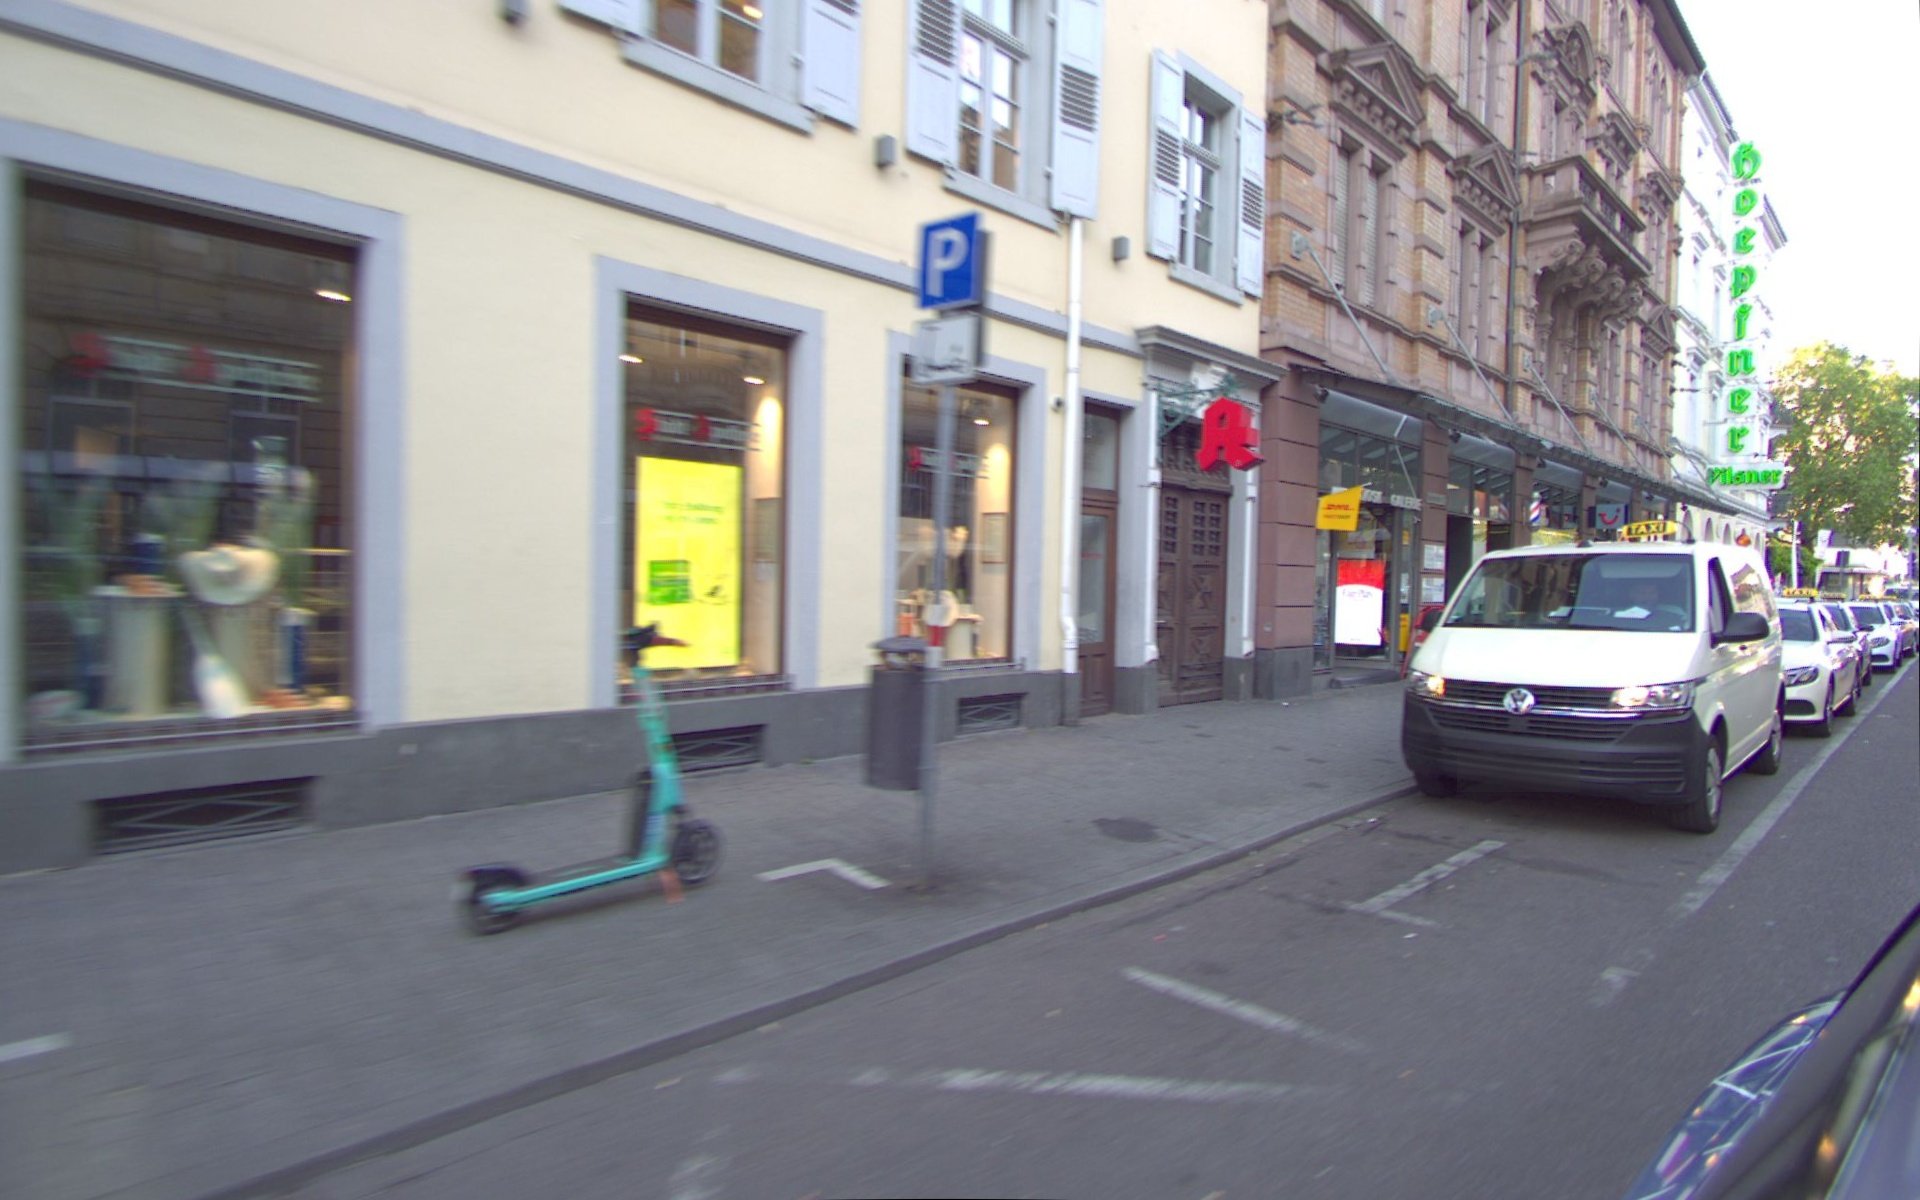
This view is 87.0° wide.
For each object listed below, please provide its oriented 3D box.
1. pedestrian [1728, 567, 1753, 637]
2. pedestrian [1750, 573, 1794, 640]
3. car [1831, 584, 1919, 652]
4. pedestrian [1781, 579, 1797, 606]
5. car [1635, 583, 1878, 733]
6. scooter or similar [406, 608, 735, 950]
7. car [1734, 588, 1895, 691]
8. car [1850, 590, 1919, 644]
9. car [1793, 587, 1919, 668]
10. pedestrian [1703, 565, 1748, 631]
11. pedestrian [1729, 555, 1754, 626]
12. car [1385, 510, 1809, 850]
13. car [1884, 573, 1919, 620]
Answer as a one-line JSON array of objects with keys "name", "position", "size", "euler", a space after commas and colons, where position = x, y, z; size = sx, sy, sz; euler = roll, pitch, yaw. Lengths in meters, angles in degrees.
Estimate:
[{"name": "pedestrian", "position": [20.475, 0.051, 26.545], "size": [0.372, 1.789, 0.653], "euler": [4, 3, 42]}, {"name": "pedestrian", "position": [21.606, 0.172, 26.934], "size": [0.476, 1.709, 0.622], "euler": [2, 4, -27]}, {"name": "car", "position": [24.156, 0.414, 26.307], "size": [4.365, 1.610, 1.735], "euler": [-1, 0, -42]}, {"name": "pedestrian", "position": [40.109, -0.366, 48.968], "size": [0.482, 1.312, 0.531], "euler": [0, 1, -44]}, {"name": "car", "position": [9.970, 0.590, 12.510], "size": [4.700, 1.502, 1.806], "euler": [0, -1, -45]}, {"name": "scooter or similar", "position": [-1.611, 0.677, 4.310], "size": [1.285, 1.249, 0.272], "euler": [-1, 3, -41]}, {"name": "car", "position": [14.759, 0.563, 17.378], "size": [4.742, 1.495, 1.727], "euler": [-1, 1, -45]}, {"name": "car", "position": [28.555, 0.454, 30.880], "size": [4.617, 1.494, 1.807], "euler": [-1, 1, -45]}, {"name": "car", "position": [19.453, 0.523, 21.895], "size": [4.786, 1.530, 1.733], "euler": [-1, 0, -45]}, {"name": "pedestrian", "position": [20.878, -0.062, 27.600], "size": [0.542, 1.709, 0.761], "euler": [0, 6, -45]}, {"name": "pedestrian", "position": [20.084, -0.244, 26.008], "size": [0.372, 1.789, 0.449], "euler": [4, 3, 42]}, {"name": "car", "position": [5.307, 0.431, 8.115], "size": [4.624, 1.948, 1.877], "euler": [-1, 0, -45]}, {"name": "car", "position": [45.540, -0.183, 48.239], "size": [5.130, 2.092, 1.854], "euler": [-1, 3, -44]}]
